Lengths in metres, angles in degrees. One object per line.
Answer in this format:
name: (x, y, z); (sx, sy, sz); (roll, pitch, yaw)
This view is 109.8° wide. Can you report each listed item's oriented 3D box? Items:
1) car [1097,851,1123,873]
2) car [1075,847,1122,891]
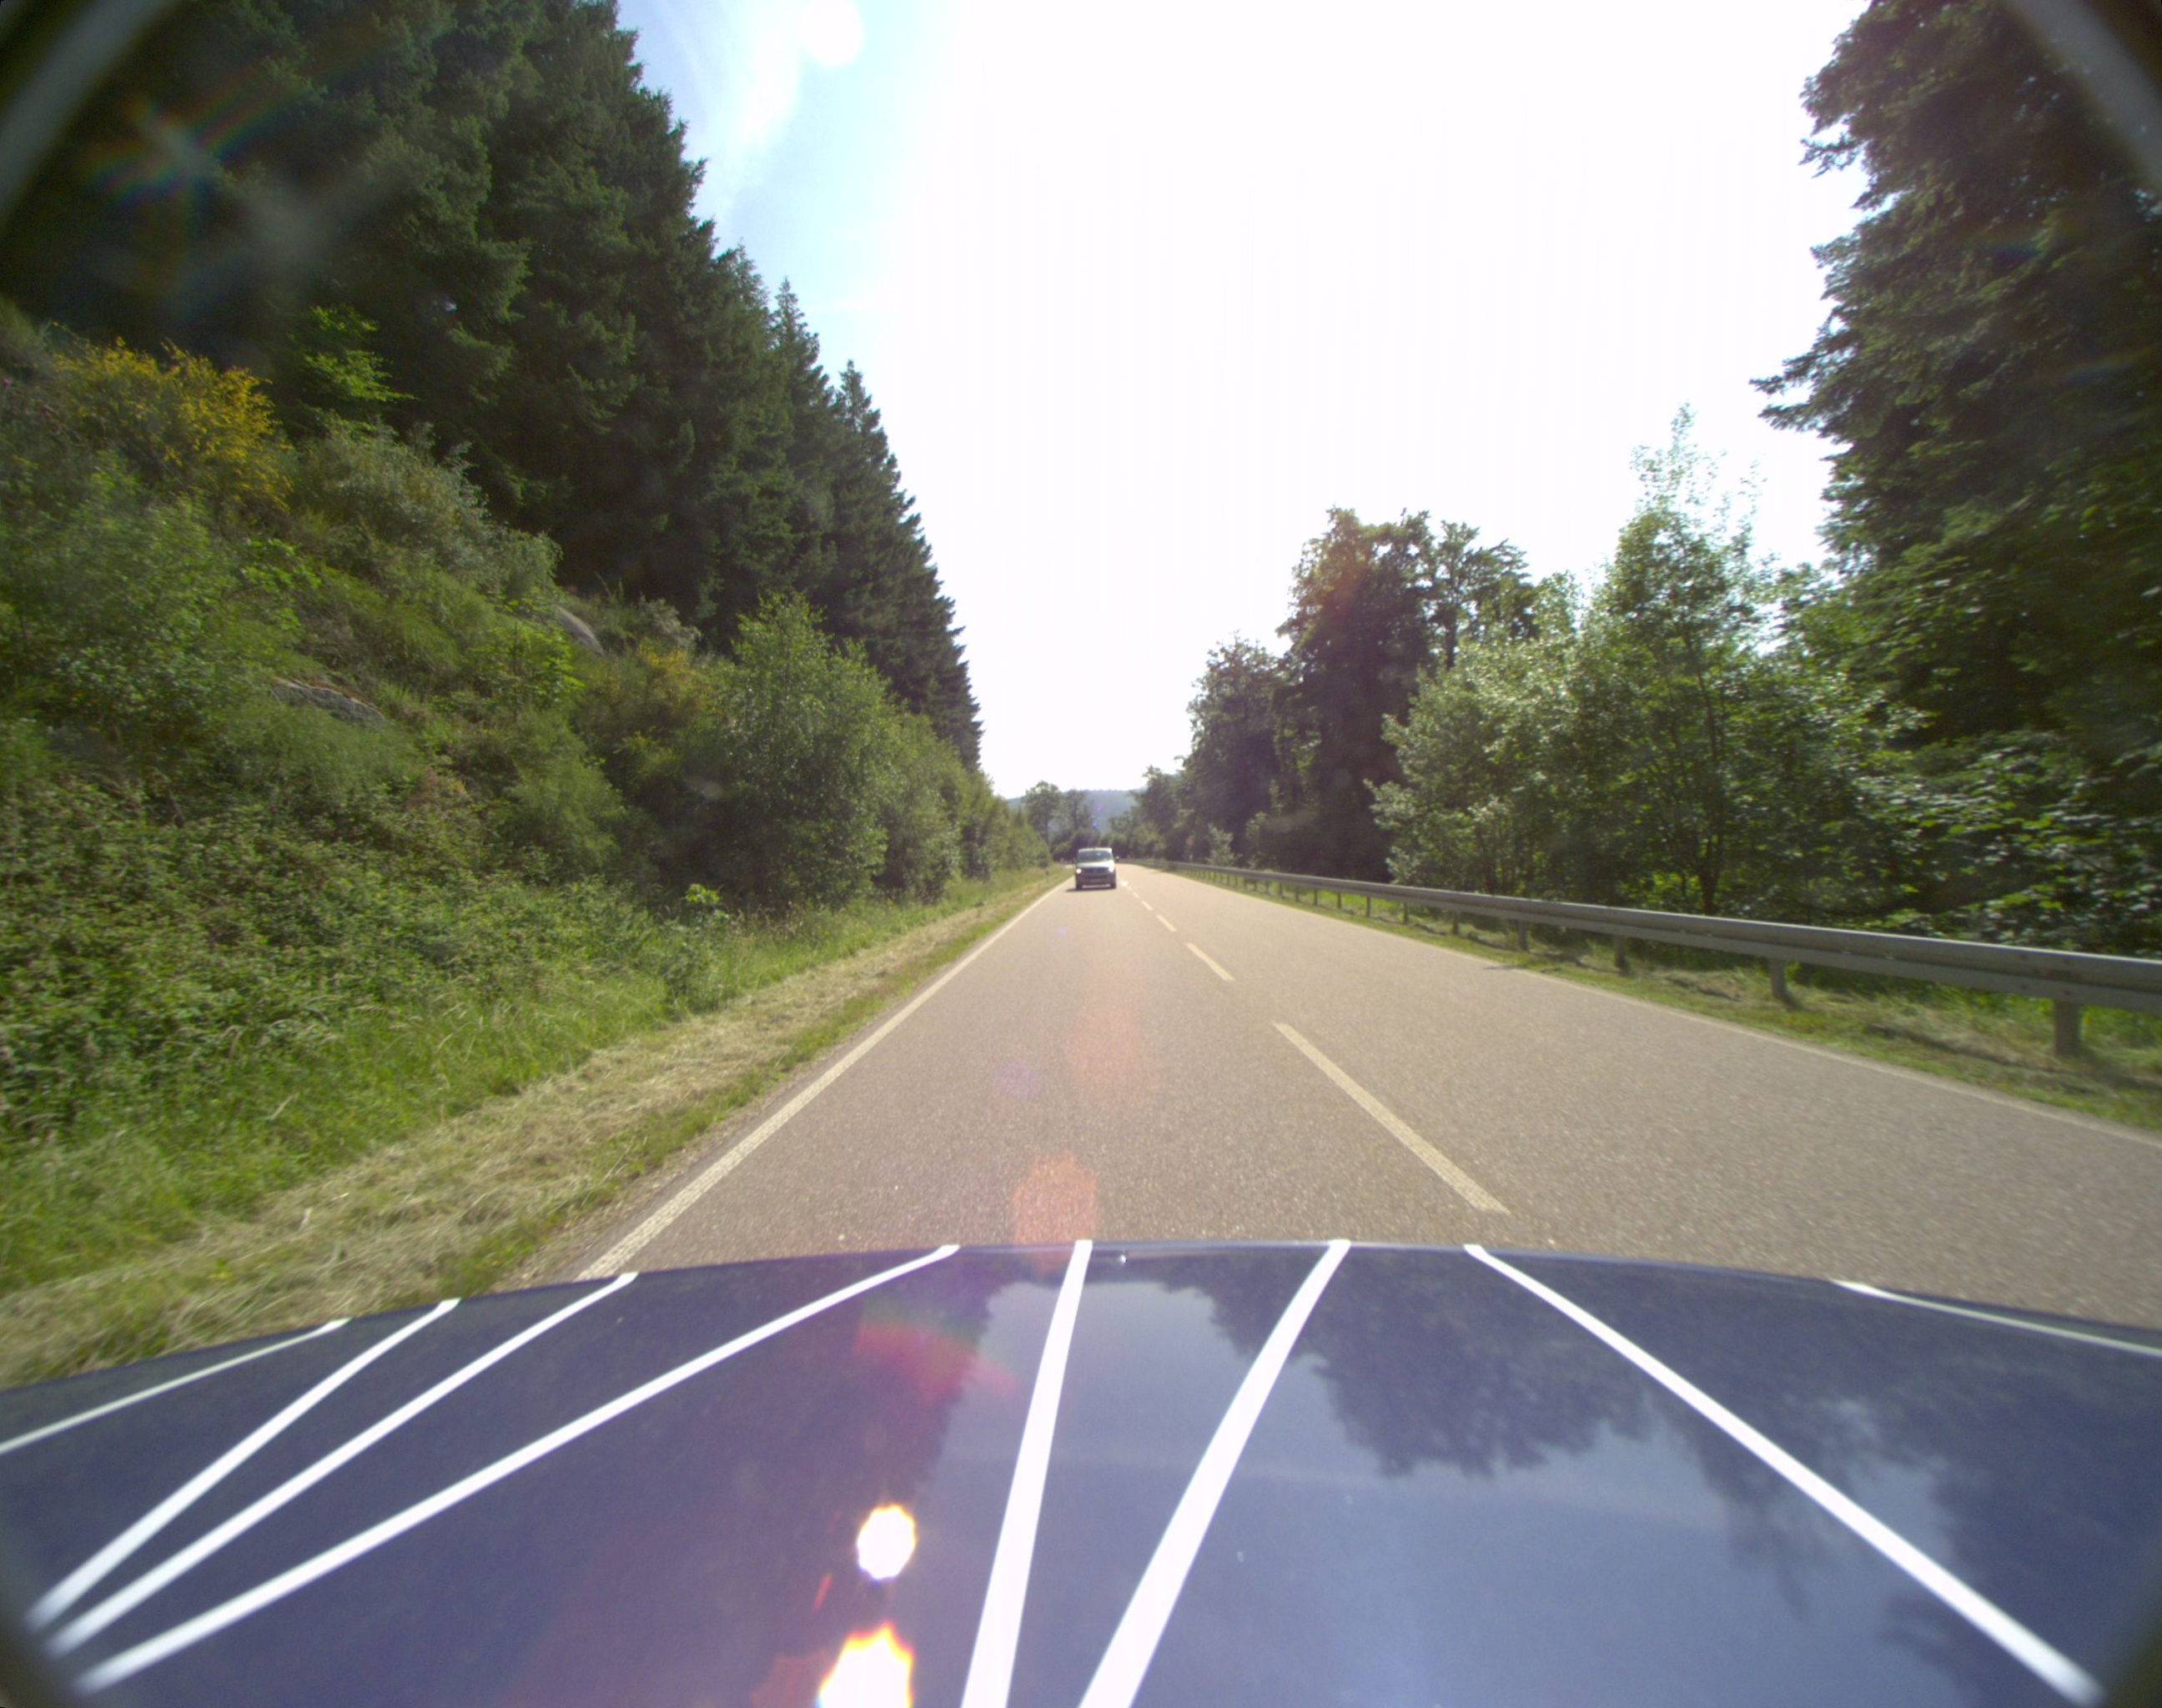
car: (2.592, 0.671, 67.874); (2.137, 1.824, 4.723); (-4, 0, 2)
car: (0.896, 0.669, 36.501); (1.990, 1.899, 4.761); (-2, 0, 4)
